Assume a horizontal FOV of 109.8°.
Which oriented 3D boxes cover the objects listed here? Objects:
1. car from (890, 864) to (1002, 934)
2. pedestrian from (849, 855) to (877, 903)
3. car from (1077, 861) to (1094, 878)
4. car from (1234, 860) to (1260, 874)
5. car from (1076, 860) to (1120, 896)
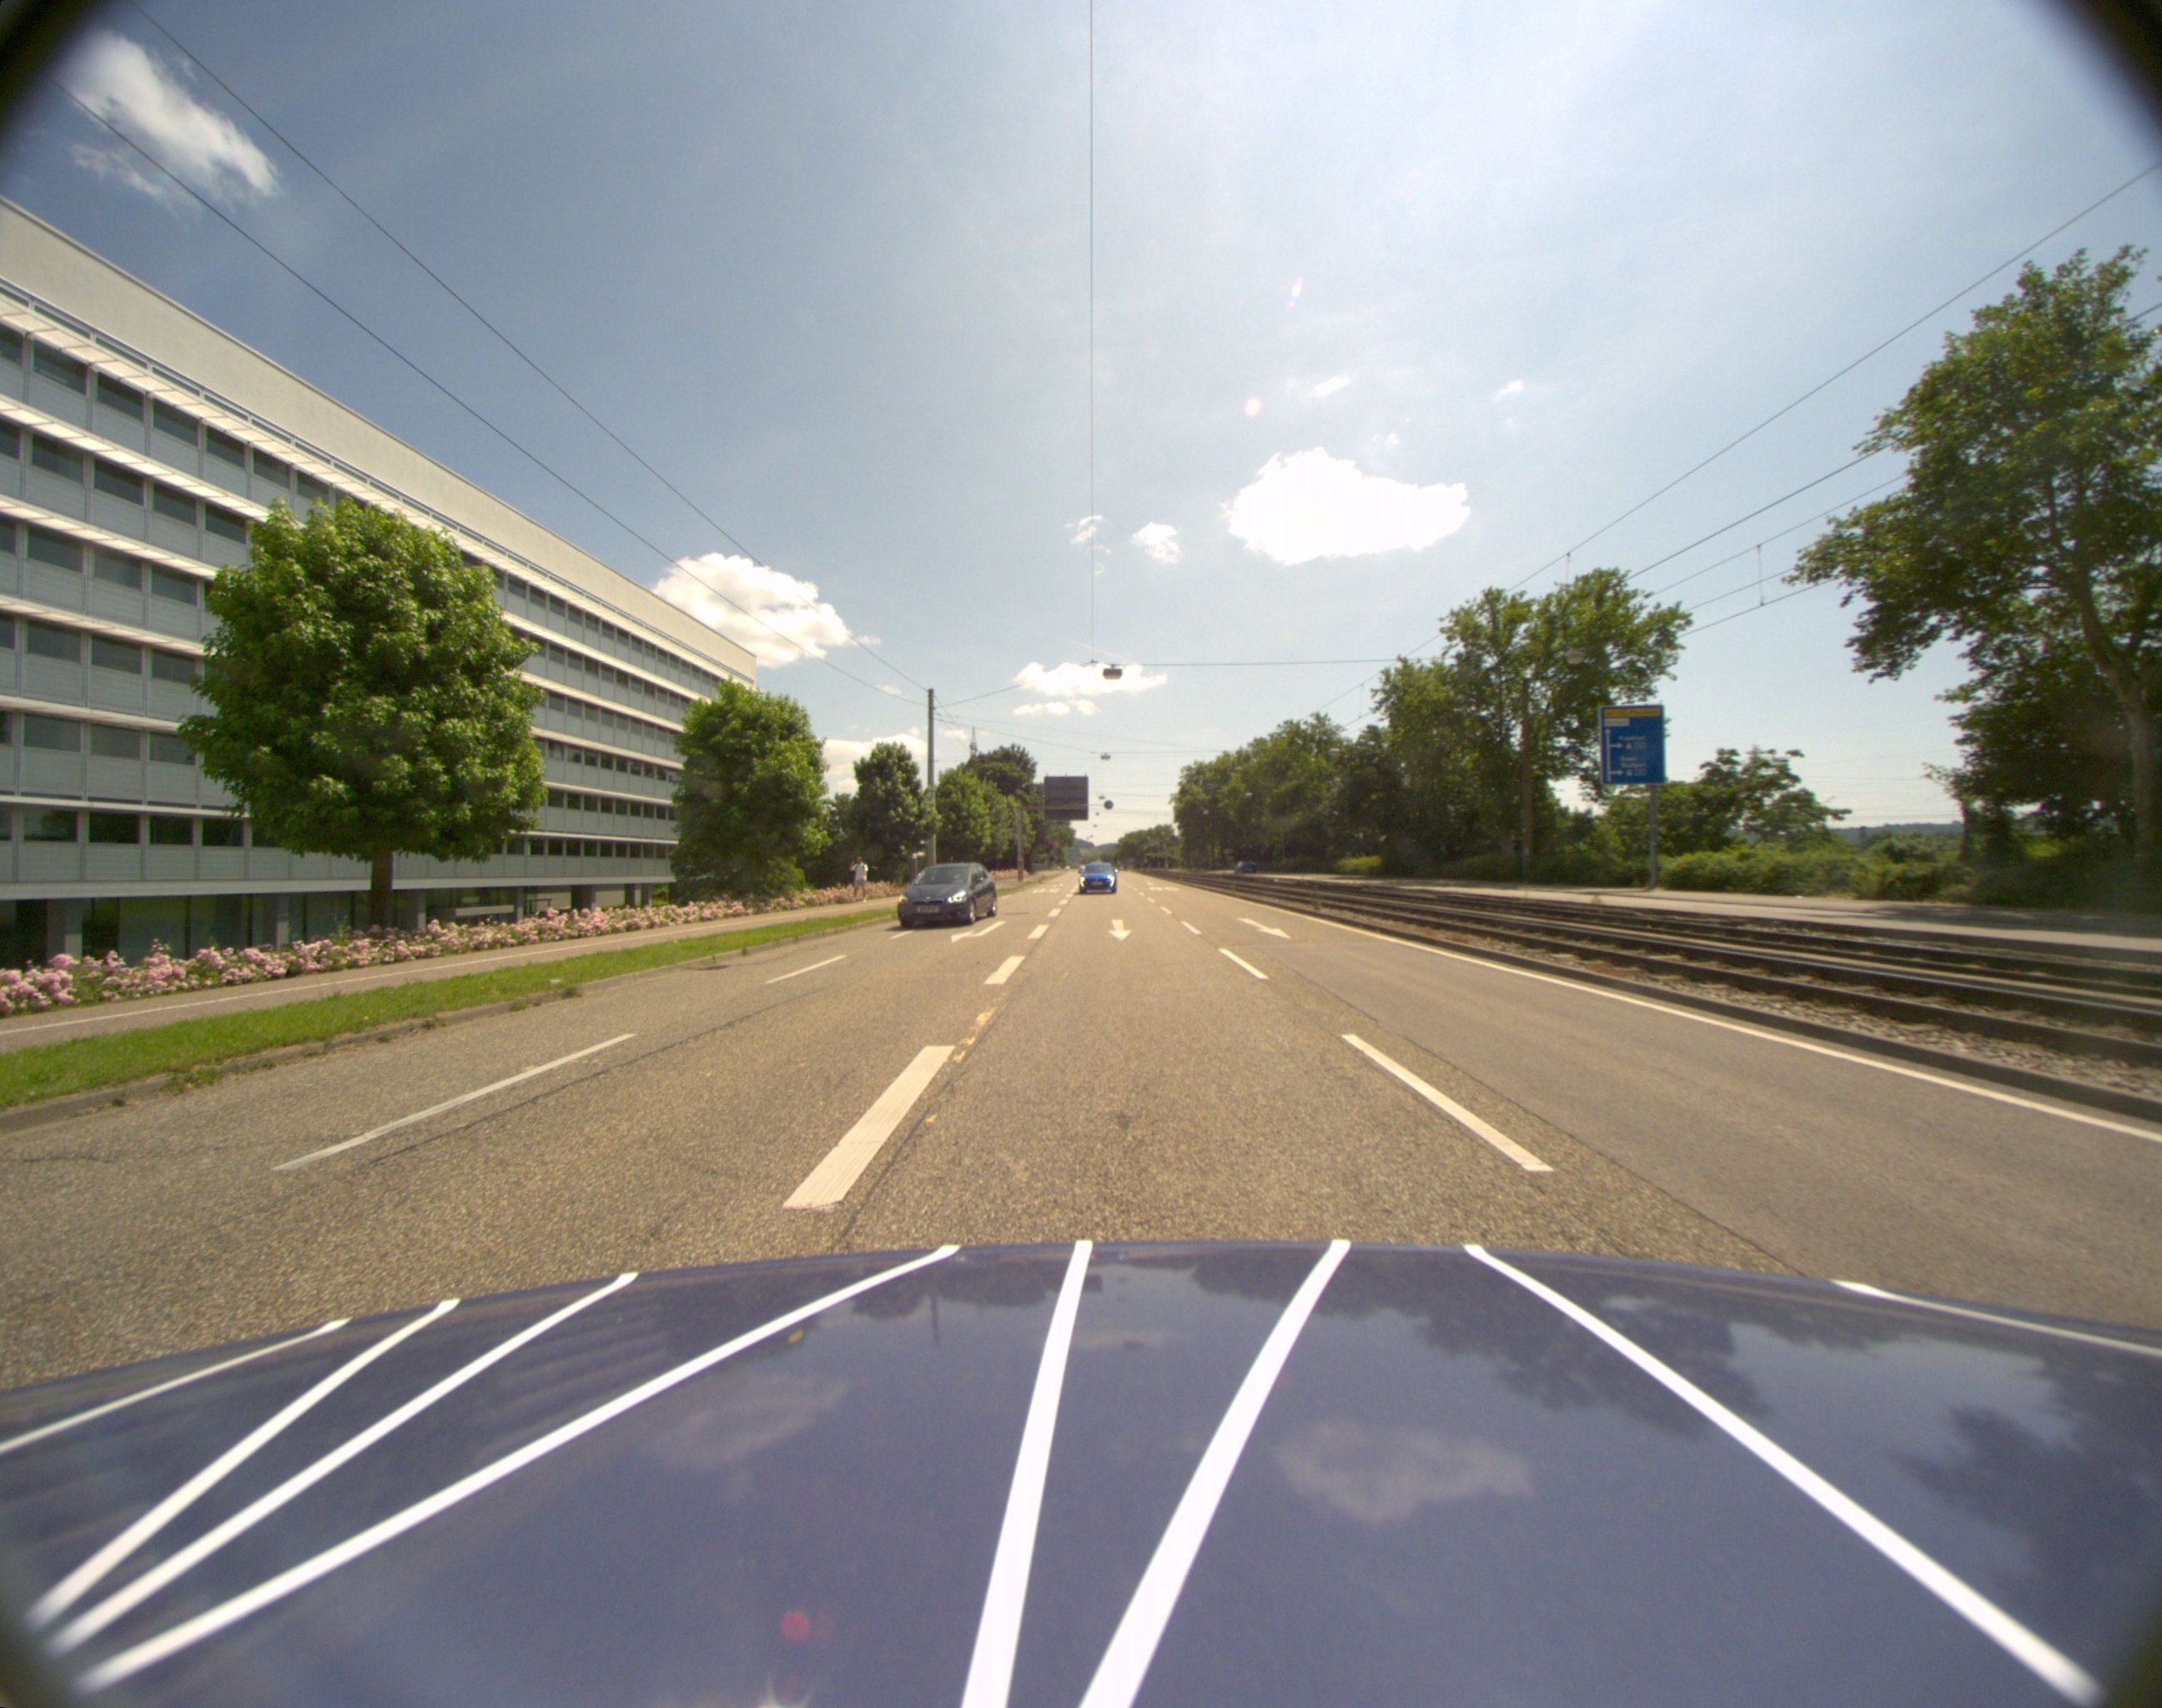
[{"bbox_3d":[-3.385,1.089,19.847,1.764,1.517,4.101,-2,0,6],"label":"car"},{"bbox_3d":[-8.546,0.966,29.804,0.758,1.838,0.931,-2,0,3],"label":"pedestrian"},{"bbox_3d":[0.540,1.929,95.836,1.998,2.001,4.000,-3,0,1],"label":"car"},{"bbox_3d":[18.512,1.455,85.027,1.803,1.495,4.735,1,0,-1],"label":"car"},{"bbox_3d":[0.835,1.076,35.600,1.841,1.446,4.001,-4,0,2],"label":"car"}]
